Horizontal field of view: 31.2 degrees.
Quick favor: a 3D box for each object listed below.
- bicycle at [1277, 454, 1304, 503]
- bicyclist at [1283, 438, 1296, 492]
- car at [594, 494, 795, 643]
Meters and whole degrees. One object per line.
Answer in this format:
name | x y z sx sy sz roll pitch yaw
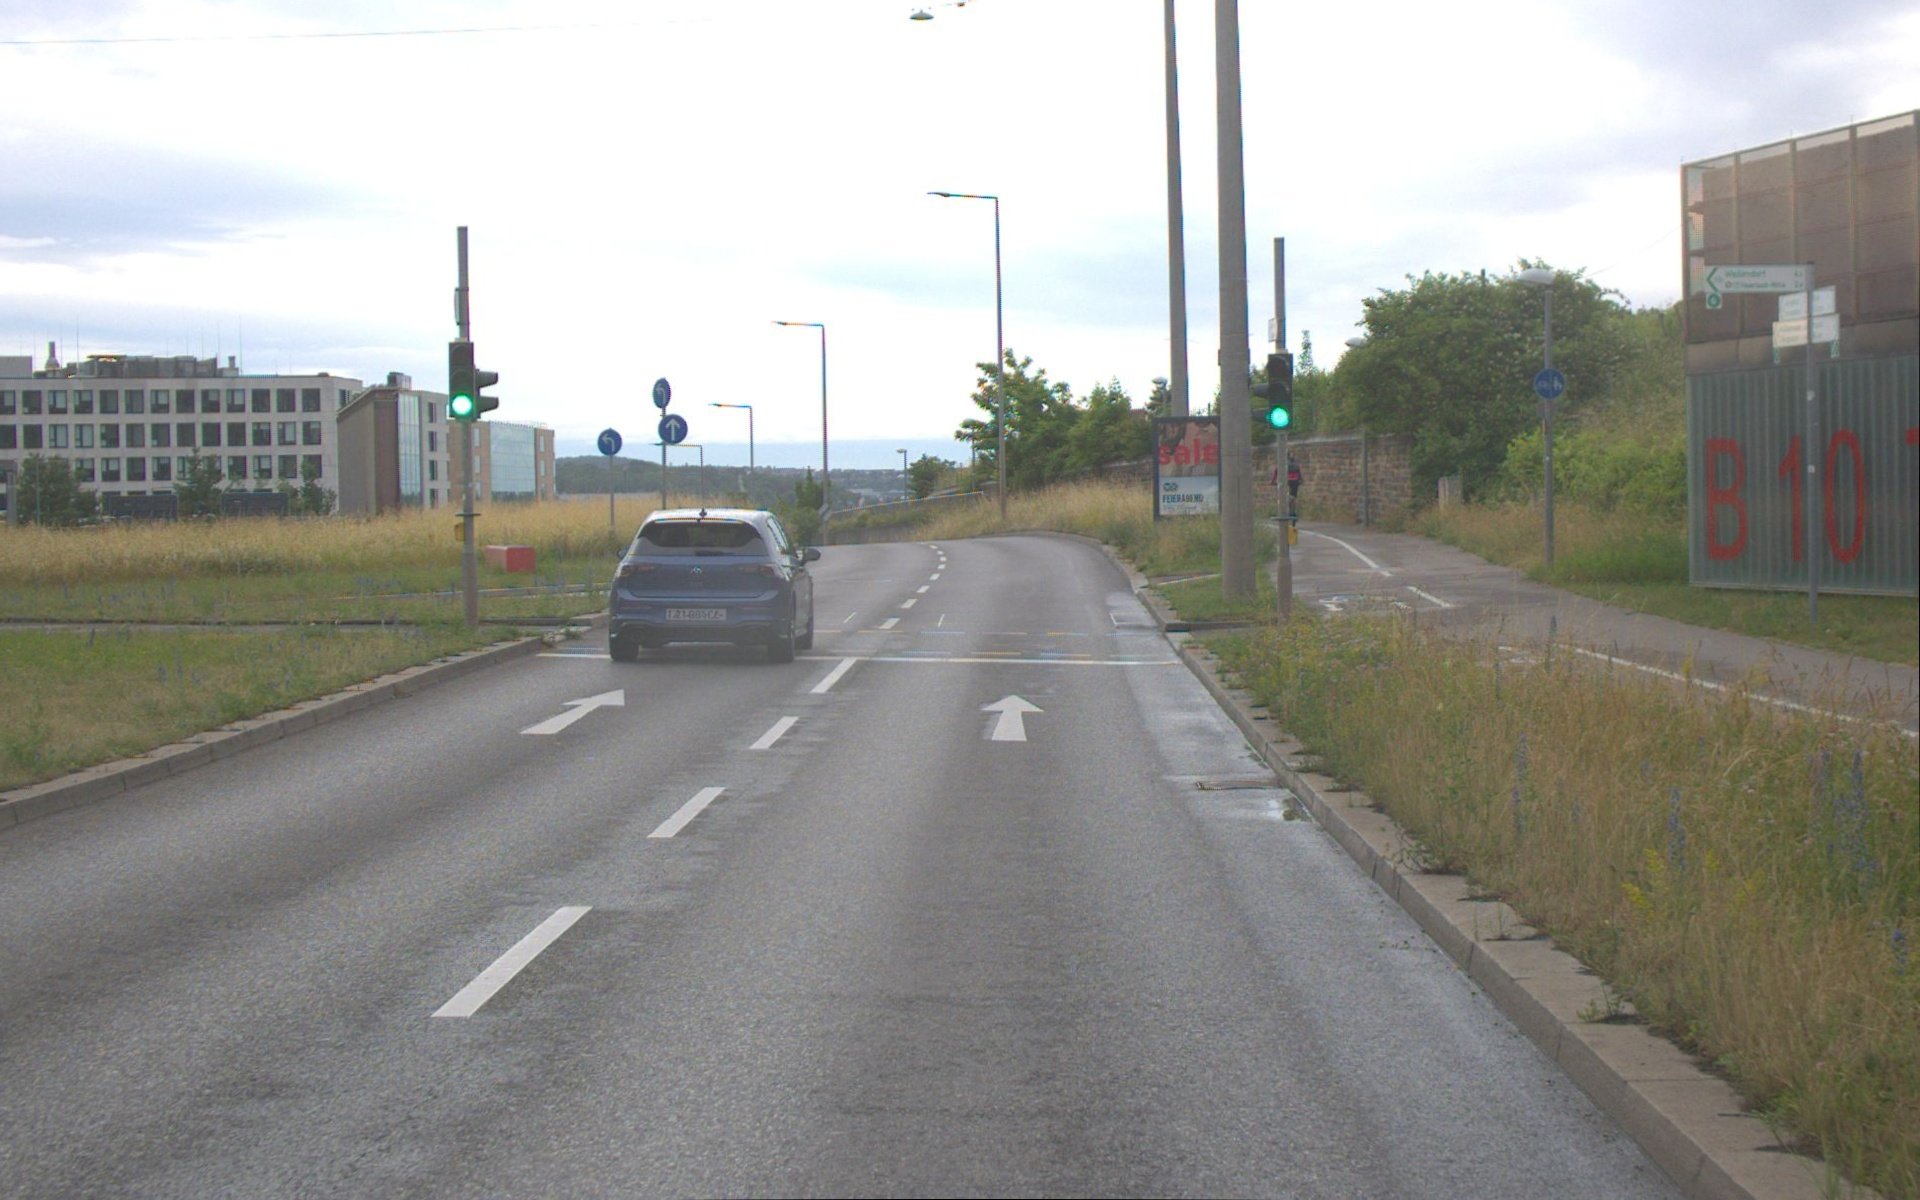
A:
bicycle | 7.320 -2.692 76.168 0.551 1.064 0.615 0 2 3
bicyclist | 7.303 -2.980 76.142 0.265 1.191 0.315 0 2 3
car | -2.562 -0.307 33.944 1.838 1.389 4.000 0 0 -2
